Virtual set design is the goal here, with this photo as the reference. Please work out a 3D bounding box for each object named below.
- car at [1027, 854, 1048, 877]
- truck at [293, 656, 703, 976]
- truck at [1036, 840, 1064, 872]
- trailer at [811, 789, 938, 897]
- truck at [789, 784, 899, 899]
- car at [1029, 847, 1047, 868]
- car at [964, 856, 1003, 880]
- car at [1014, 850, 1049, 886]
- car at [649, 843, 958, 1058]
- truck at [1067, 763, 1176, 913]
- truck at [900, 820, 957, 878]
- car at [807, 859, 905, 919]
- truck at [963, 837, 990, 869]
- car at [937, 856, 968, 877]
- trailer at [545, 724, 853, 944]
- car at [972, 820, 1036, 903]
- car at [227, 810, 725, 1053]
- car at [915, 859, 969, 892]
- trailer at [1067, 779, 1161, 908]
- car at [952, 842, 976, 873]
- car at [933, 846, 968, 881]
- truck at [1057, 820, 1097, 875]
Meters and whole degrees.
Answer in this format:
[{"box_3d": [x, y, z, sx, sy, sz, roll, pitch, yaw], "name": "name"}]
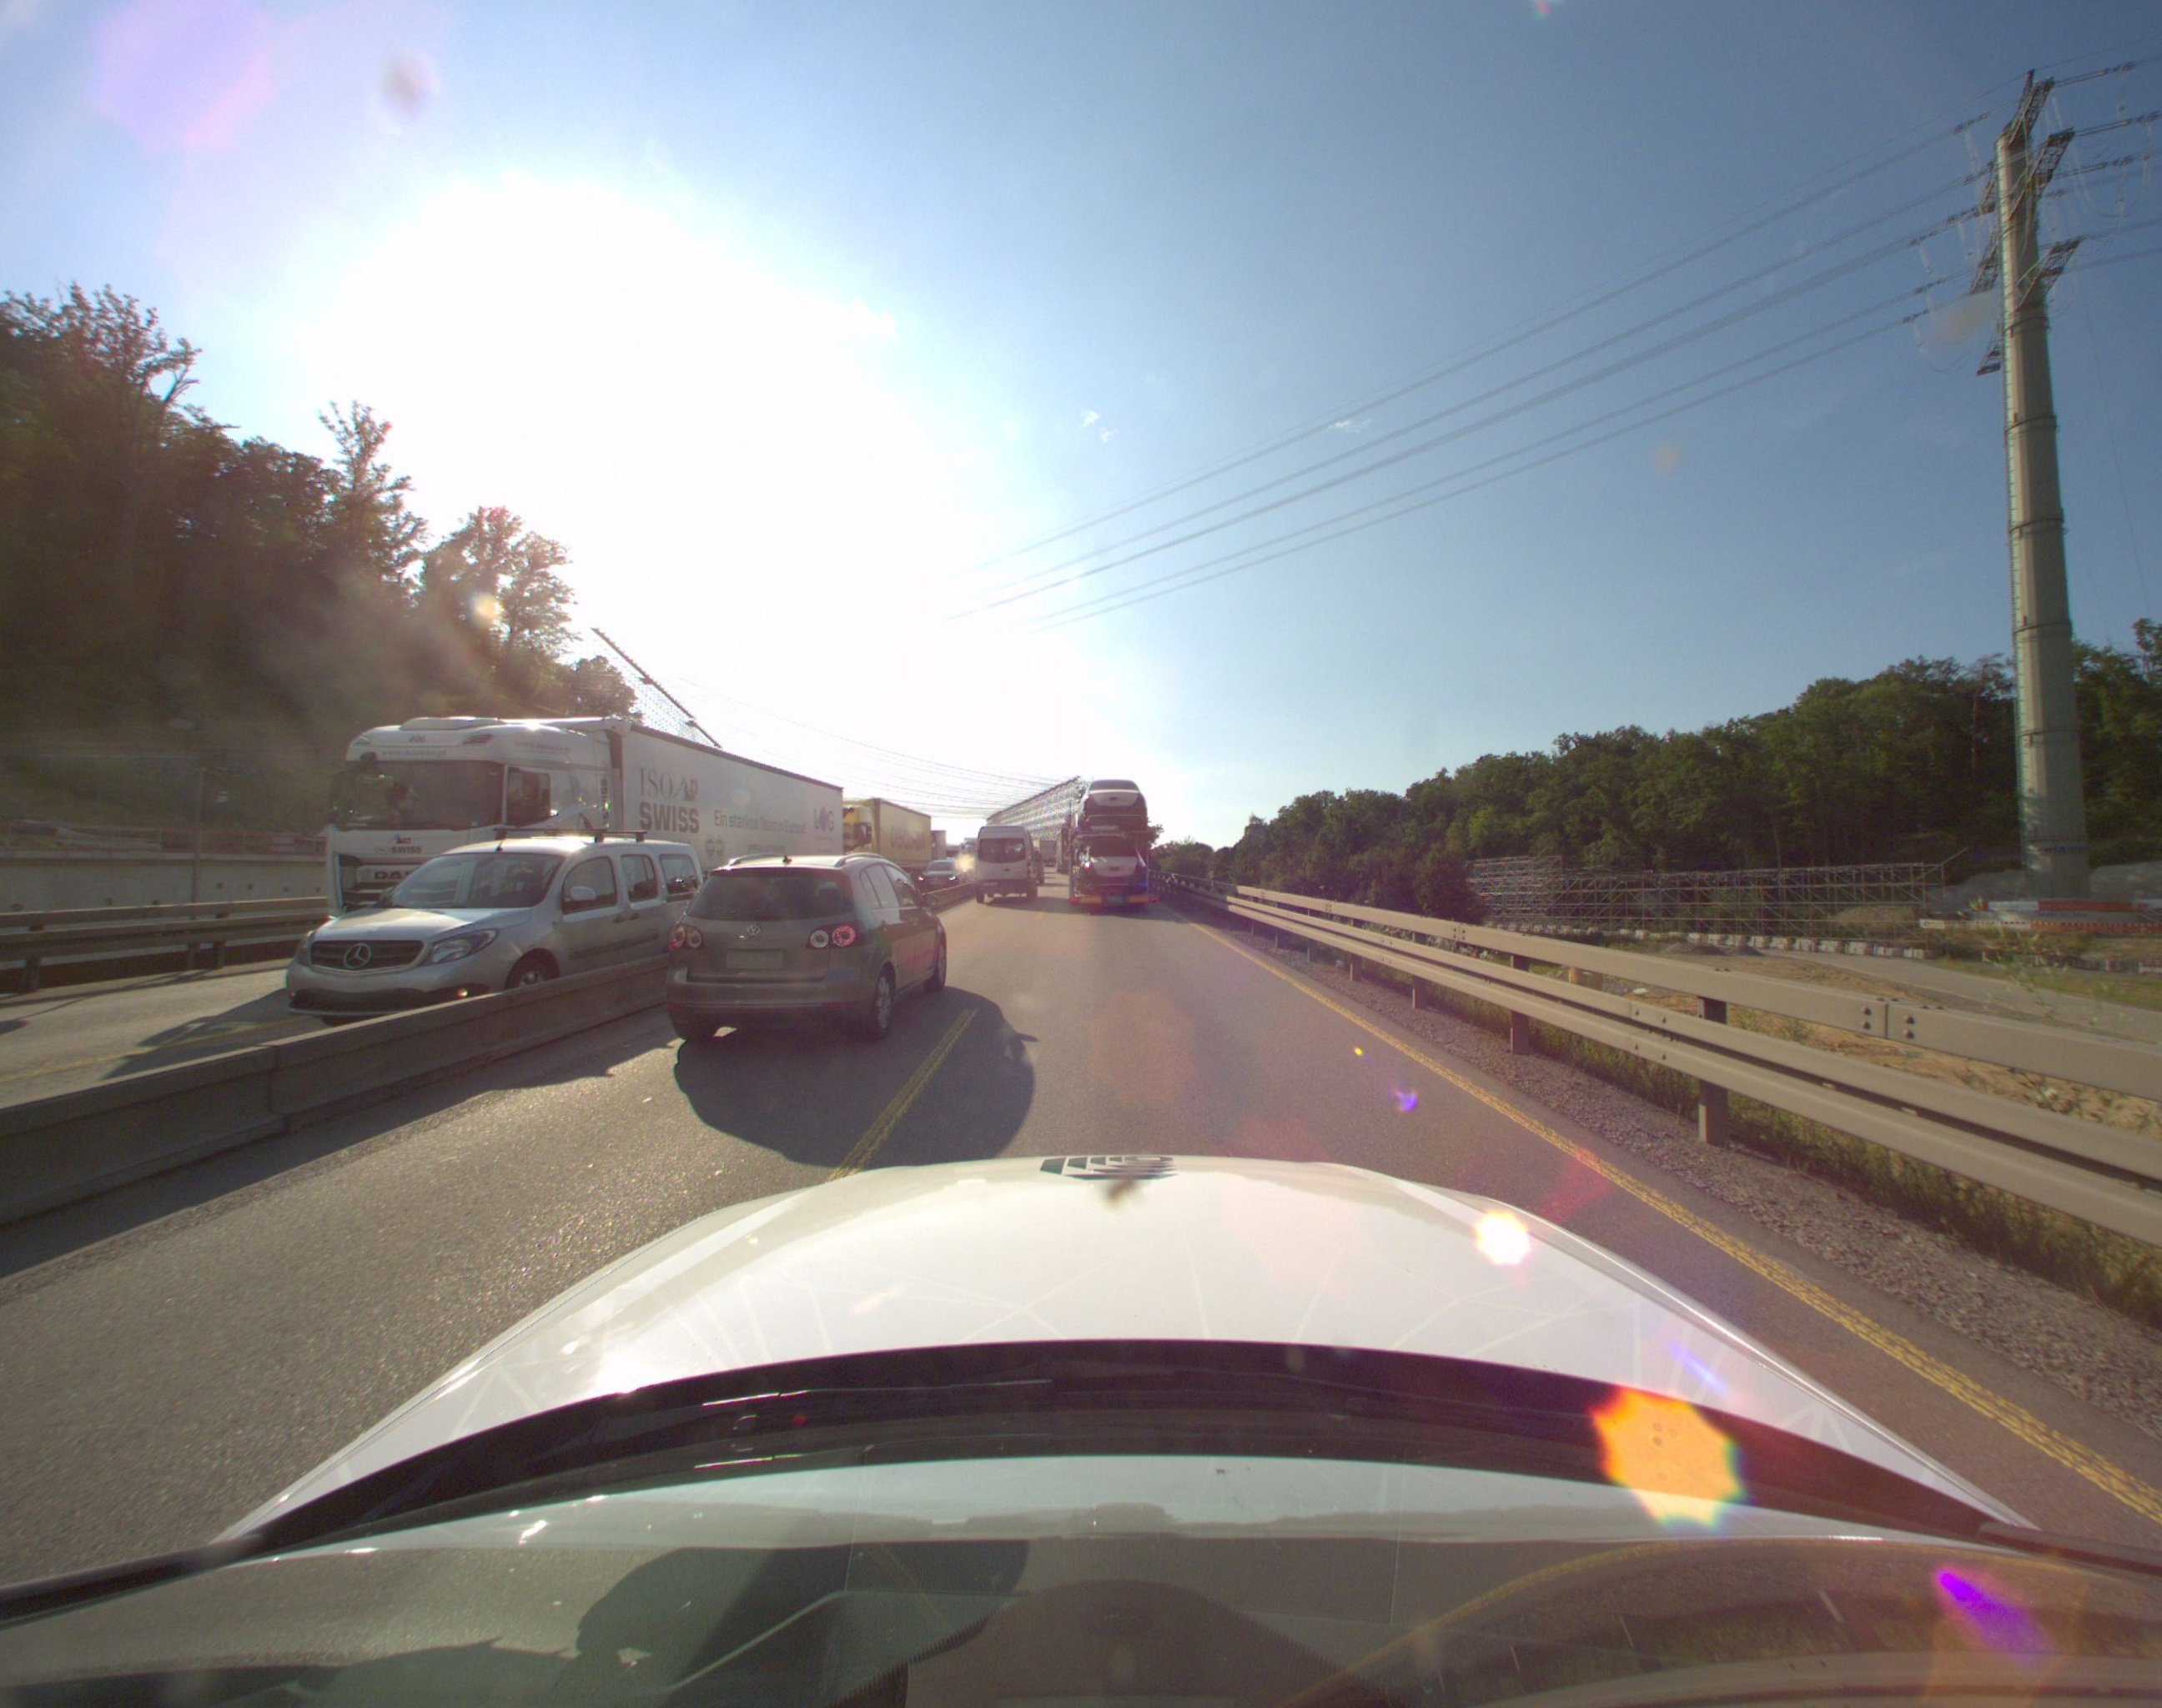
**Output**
[{"box_3d": [-3.824, 1.052, 71.982, 1.664, 1.985, 3.814, -1, -2, -2], "name": "car"}, {"box_3d": [-9.312, -0.437, 14.125, 2.435, 4.272, 6.321, -1, -2, 1], "name": "truck"}, {"box_3d": [-4.904, 0.334, 126.493, 3.643, 4.677, 11.672, -1, 0, -5], "name": "truck"}, {"box_3d": [-9.753, -0.251, 40.692, 2.885, 4.394, 14.370, -1, -2, -1], "name": "trailer"}, {"box_3d": [-9.584, -0.406, 33.576, 2.885, 4.272, 5.768, -1, -2, -1], "name": "truck"}, {"box_3d": [-4.217, 0.347, 80.720, 1.664, 1.985, 3.814, -1, -2, -2], "name": "car"}, {"box_3d": [-6.477, 0.975, 54.525, 1.987, 1.531, 4.725, -1, -2, 0], "name": "car"}, {"box_3d": [-2.805, 0.832, 47.190, 1.662, 1.985, 3.818, -1, -2, 1], "name": "car"}, {"box_3d": [-2.422, 0.788, 8.254, 1.695, 1.587, 4.145, -1, -2, 0], "name": "car"}, {"box_3d": [1.041, -0.363, 24.789, 2.862, 3.980, 5.768, -1, -2, -1], "name": "truck"}, {"box_3d": [-10.014, -0.218, 54.133, 2.351, 3.531, 7.694, -1, -2, 0], "name": "truck"}, {"box_3d": [-6.209, 0.912, 22.906, 1.665, 1.506, 3.847, -1, 0, 0], "name": "car"}, {"box_3d": [-13.835, -0.163, 108.004, 2.634, 3.995, 9.022, -1, 0, -2], "name": "truck"}, {"box_3d": [-9.768, 1.002, 61.964, 1.804, 1.531, 4.043, -1, -2, -2], "name": "car"}, {"box_3d": [-9.190, -0.238, 22.029, 2.444, 4.266, 12.145, -1, -2, 1], "name": "trailer"}, {"box_3d": [-2.643, 0.295, 28.839, 1.974, 2.685, 4.143, -1, -2, -2], "name": "car"}, {"box_3d": [-5.902, 0.619, 8.948, 1.827, 1.917, 4.863, -1, 0, 0], "name": "car"}, {"box_3d": [-6.459, 1.019, 38.300, 1.749, 1.449, 4.533, -1, -2, 0], "name": "car"}, {"box_3d": [0.903, -0.122, 33.101, 2.866, 3.994, 15.269, -1, -2, -1], "name": "trailer"}, {"box_3d": [-10.952, 0.332, 76.639, 1.664, 2.765, 4.955, -1, 0, -2], "name": "car"}, {"box_3d": [-10.997, 0.842, 69.030, 2.122, 2.750, 5.500, -1, -2, -2], "name": "car"}, {"box_3d": [-0.559, -0.581, 76.045, 3.220, 4.677, 11.683, -1, 0, -3], "name": "truck"}]
